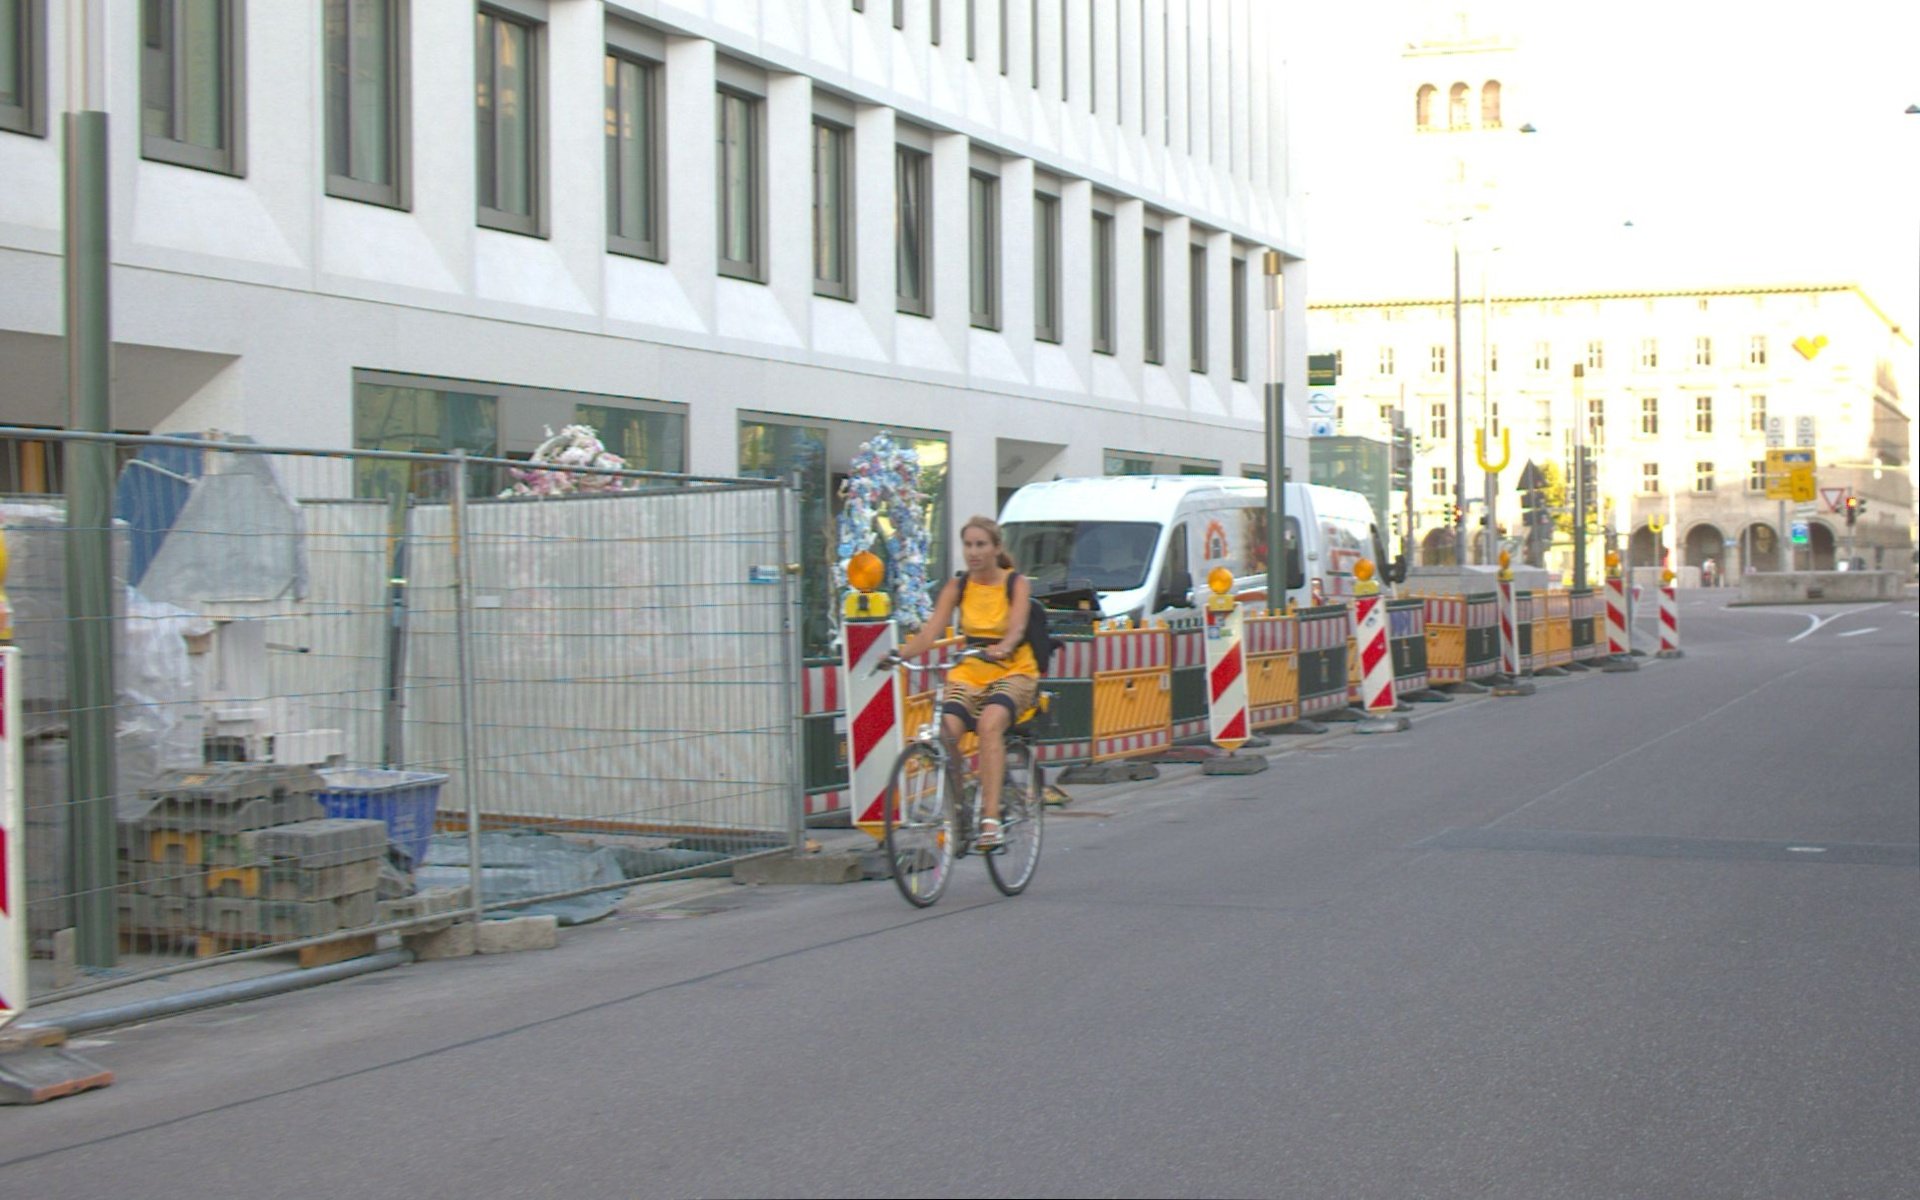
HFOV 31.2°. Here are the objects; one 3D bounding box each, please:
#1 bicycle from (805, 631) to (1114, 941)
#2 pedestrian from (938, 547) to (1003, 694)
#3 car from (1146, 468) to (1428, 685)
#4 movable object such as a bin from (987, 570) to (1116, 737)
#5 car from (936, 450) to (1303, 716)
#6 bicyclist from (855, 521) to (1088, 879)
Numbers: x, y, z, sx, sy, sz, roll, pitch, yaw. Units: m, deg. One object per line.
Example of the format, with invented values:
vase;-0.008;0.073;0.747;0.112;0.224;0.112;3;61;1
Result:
bicycle;0.042;0.769;15.215;0.797;1.213;2.232;0;1;15
pedestrian;0.114;0.215;37.085;0.543;1.572;0.579;0;0;16
car;4.109;-0.314;42.110;2.175;2.462;5.994;0;1;18
movable object such as a bin;0.837;0.463;31.025;1.043;1.461;1.393;0;1;7
car;1.757;-0.206;35.045;2.175;2.462;5.994;0;1;19
bicyclist;0.065;0.419;15.231;0.797;1.527;0.973;0;1;16
